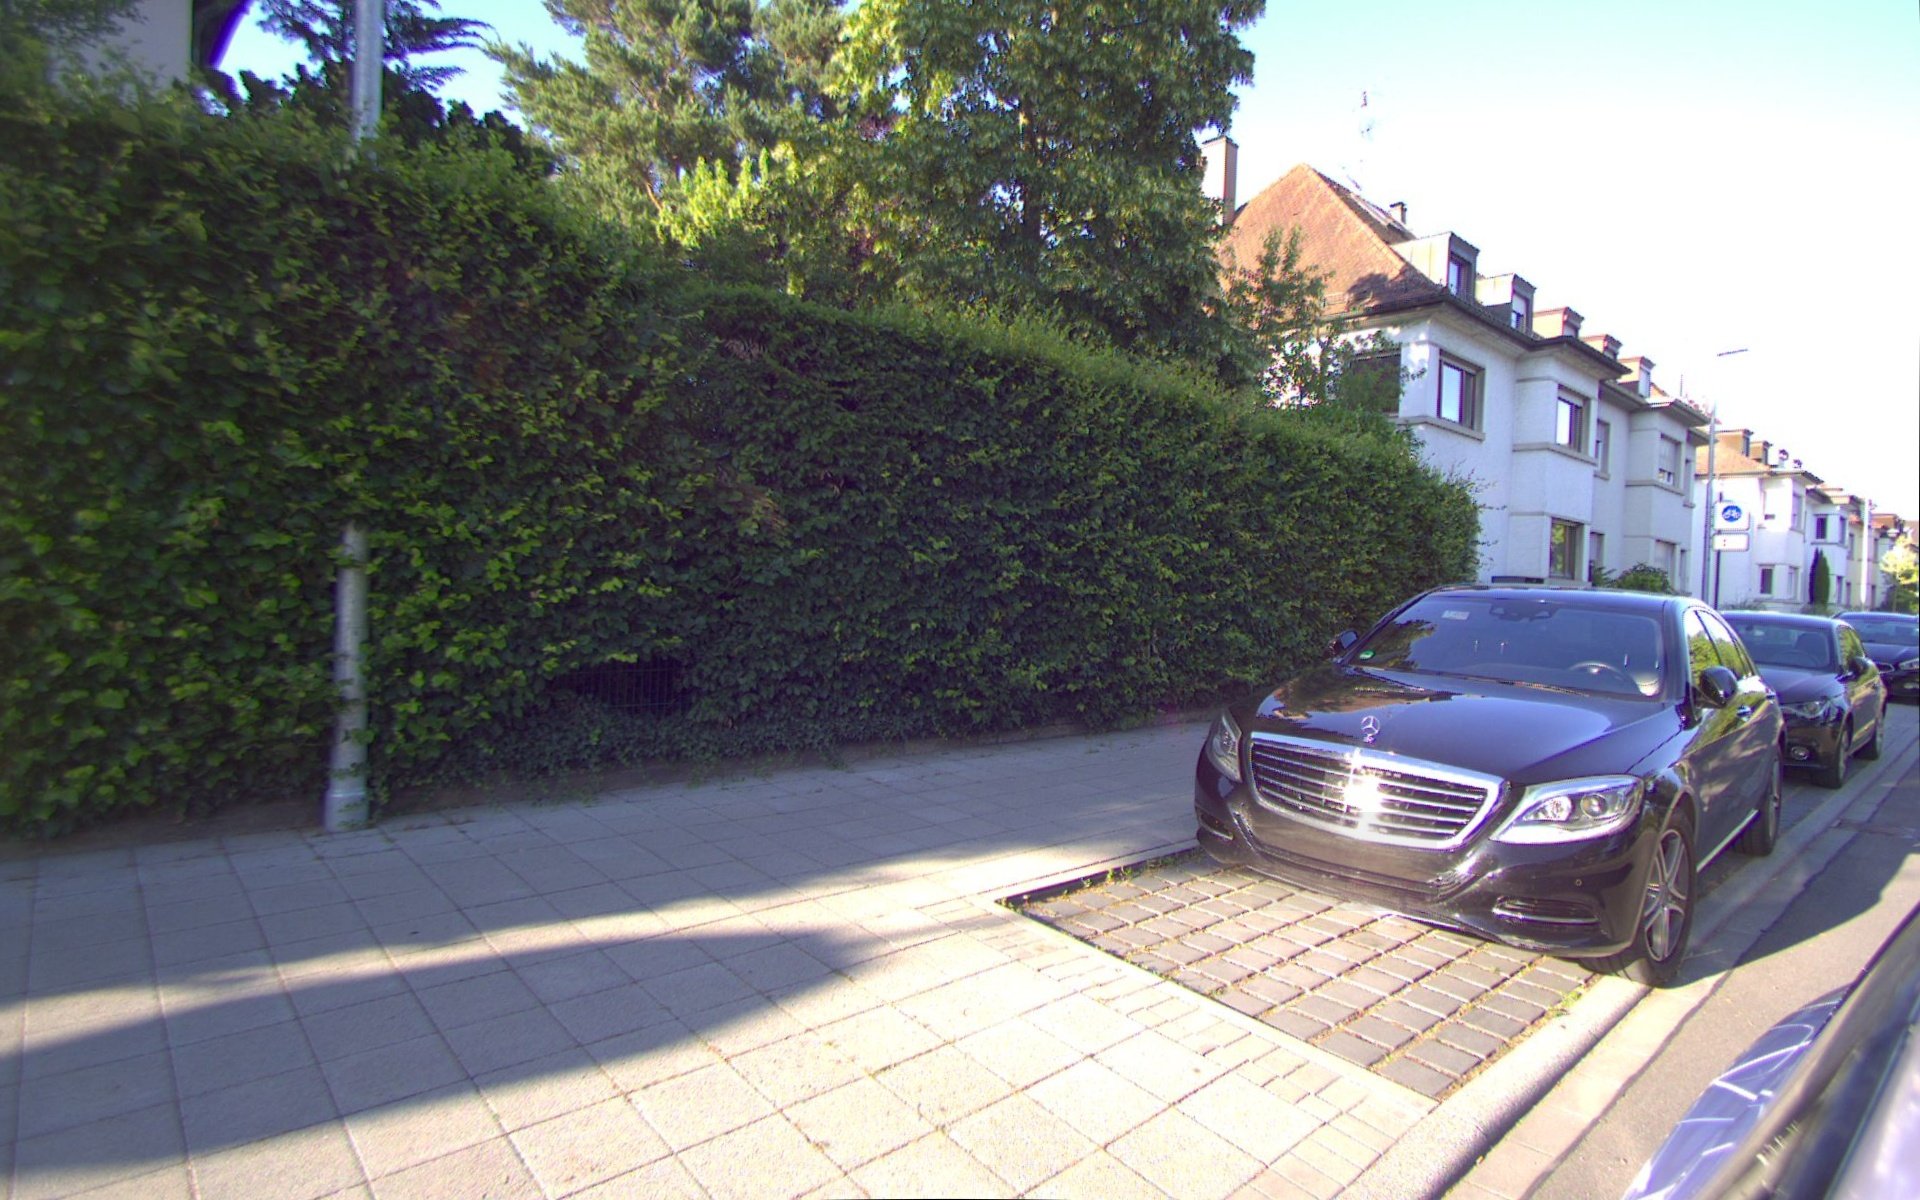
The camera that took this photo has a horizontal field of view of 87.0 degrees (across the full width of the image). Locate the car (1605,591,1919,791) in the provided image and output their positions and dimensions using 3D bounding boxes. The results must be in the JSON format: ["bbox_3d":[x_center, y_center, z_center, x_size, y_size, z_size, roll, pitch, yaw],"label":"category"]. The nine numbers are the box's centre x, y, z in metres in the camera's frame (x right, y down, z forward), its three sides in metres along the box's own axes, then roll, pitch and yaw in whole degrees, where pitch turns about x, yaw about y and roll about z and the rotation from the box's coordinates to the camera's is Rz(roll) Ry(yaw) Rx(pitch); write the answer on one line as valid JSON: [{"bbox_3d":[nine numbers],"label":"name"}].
[{"bbox_3d":[7.783,0.712,9.696,3.868,1.445,1.644,1,3,-42],"label":"car"}]

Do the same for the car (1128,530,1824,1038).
[{"bbox_3d":[3.139,0.543,5.501,4.792,1.561,1.861,0,3,-44],"label":"car"}]

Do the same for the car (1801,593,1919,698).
[{"bbox_3d":[16.043,0.738,17.449,4.183,1.492,1.750,1,5,-43],"label":"car"}]

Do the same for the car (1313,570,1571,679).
[{"bbox_3d":[8.318,0.349,17.635,3.637,1.514,1.752,6,4,45],"label":"car"}]

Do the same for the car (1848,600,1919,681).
[{"bbox_3d":[19.892,0.820,21.006,3.916,1.489,1.721,1,4,-43],"label":"car"}]
